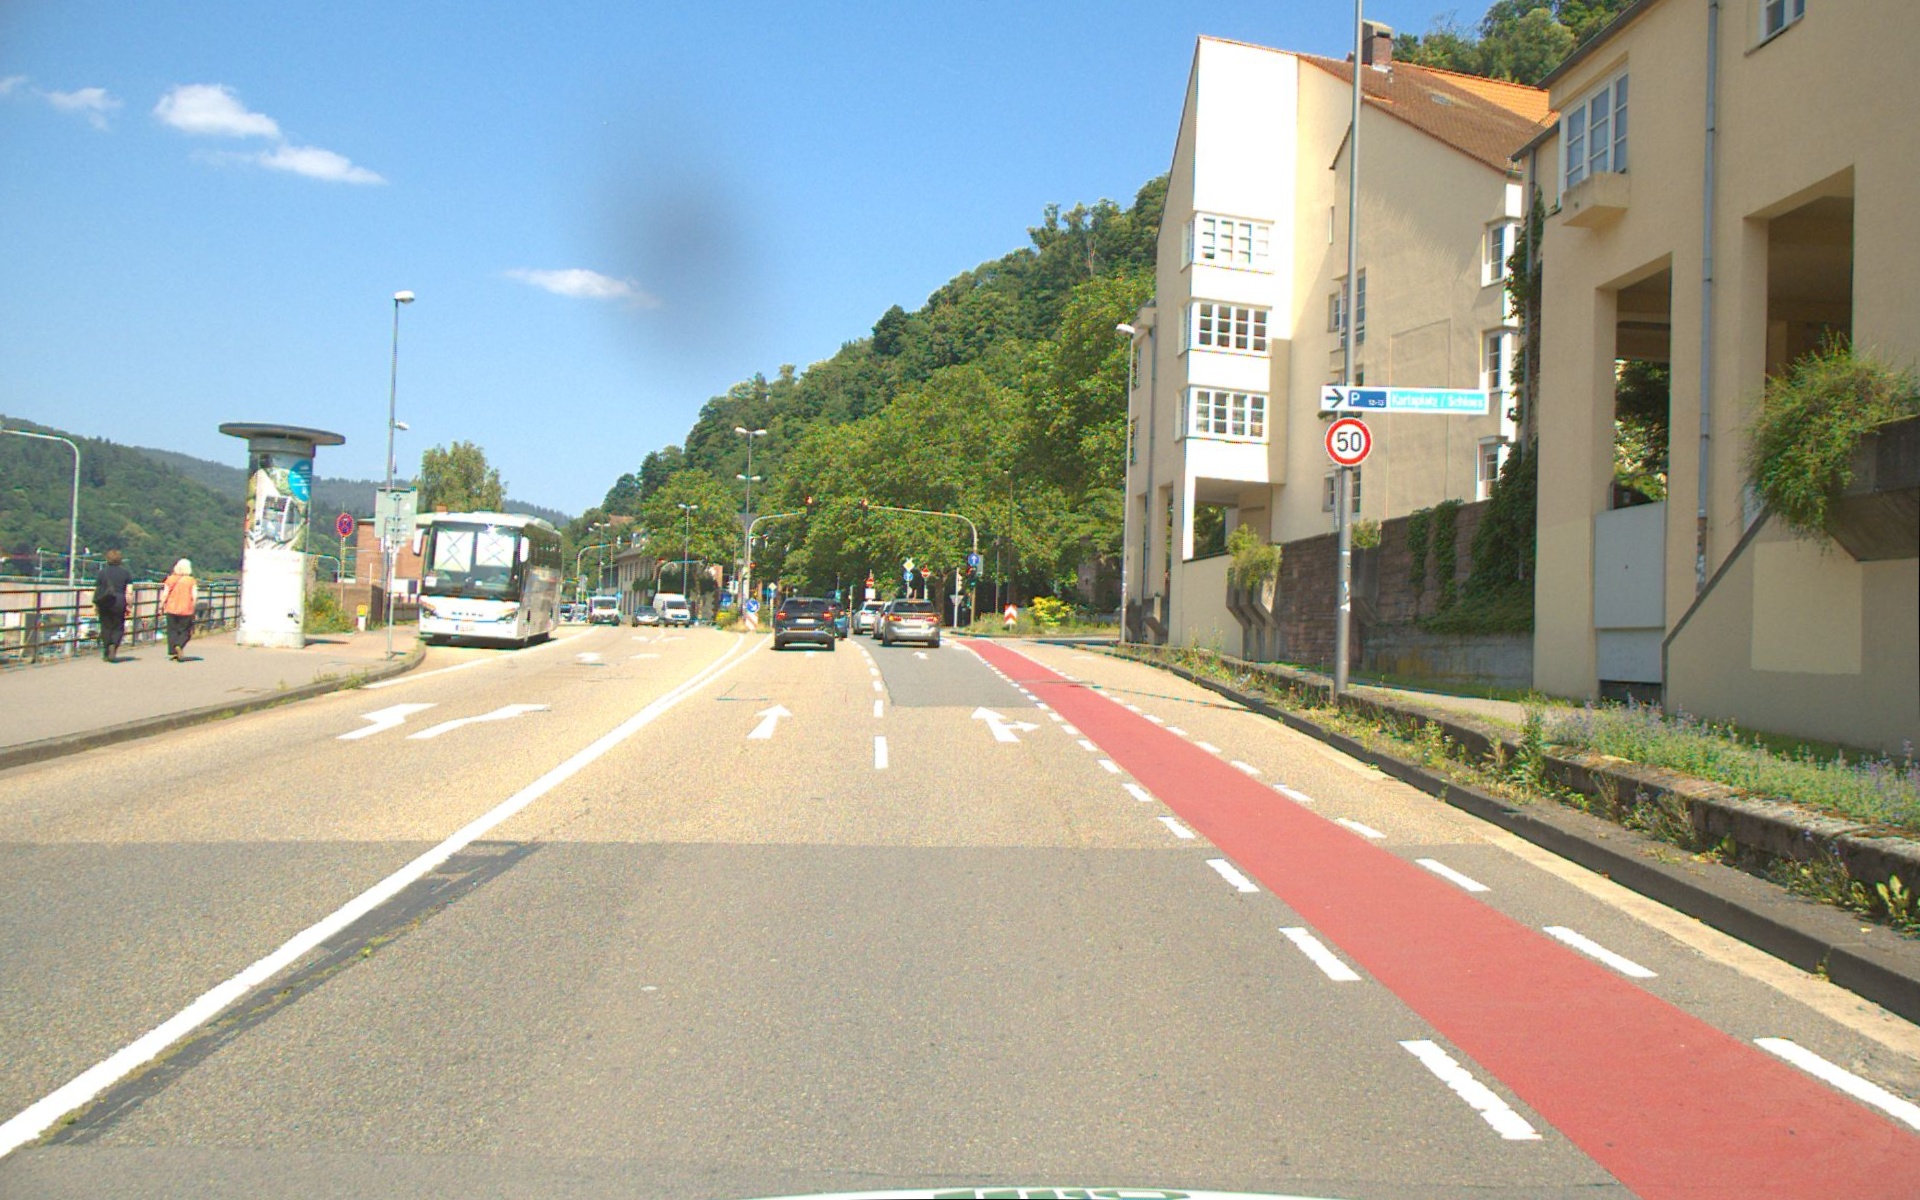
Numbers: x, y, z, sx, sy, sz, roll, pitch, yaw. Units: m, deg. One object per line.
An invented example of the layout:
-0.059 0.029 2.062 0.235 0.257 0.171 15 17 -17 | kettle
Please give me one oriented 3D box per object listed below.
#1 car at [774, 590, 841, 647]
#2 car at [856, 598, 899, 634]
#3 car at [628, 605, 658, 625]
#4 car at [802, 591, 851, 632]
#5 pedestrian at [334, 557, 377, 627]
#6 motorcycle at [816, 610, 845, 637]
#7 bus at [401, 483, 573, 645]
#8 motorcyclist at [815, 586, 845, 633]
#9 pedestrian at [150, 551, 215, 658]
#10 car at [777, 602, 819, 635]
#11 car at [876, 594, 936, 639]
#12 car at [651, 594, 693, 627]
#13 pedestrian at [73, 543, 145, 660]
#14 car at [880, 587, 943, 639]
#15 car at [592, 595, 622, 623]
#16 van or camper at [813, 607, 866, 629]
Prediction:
-4.488 0.536 48.946 1.833 1.540 4.146 3 -1 -5 | car
-3.763 0.722 74.812 1.751 1.559 4.731 -1 0 -5 | car
-24.494 1.135 127.844 1.960 1.457 4.150 1 0 -15 | car
-5.436 0.443 67.042 1.831 1.589 3.994 1 0 -6 | car
-16.227 -0.209 44.417 0.876 1.827 1.038 2 -1 -10 | pedestrian
-4.768 0.865 60.779 1.017 0.935 2.602 1 0 -4 | motorcycle
-13.607 -0.929 48.803 2.903 3.866 13.216 5 -1 -9 | bus
-4.752 0.344 60.452 1.054 1.714 1.155 1 0 -5 | motorcyclist
-12.378 0.075 26.355 0.690 1.649 0.815 2 -1 -11 | pedestrian
-7.313 0.816 74.562 1.831 1.382 3.994 1 0 -6 | car
-2.055 0.598 61.539 1.954 1.560 4.854 2 0 -4 | car
-23.433 0.816 134.439 2.348 2.621 6.020 1 0 -19 | car
-12.893 0.025 25.078 0.670 1.739 0.772 2 -1 -6 | pedestrian
-1.616 0.429 54.245 1.851 1.548 4.302 3 -1 -4 | car
-27.102 0.683 126.811 2.176 2.115 5.027 1 0 -13 | car
-10.982 1.604 151.026 4.445 1.935 2.002 0 0 12 | van or camper
